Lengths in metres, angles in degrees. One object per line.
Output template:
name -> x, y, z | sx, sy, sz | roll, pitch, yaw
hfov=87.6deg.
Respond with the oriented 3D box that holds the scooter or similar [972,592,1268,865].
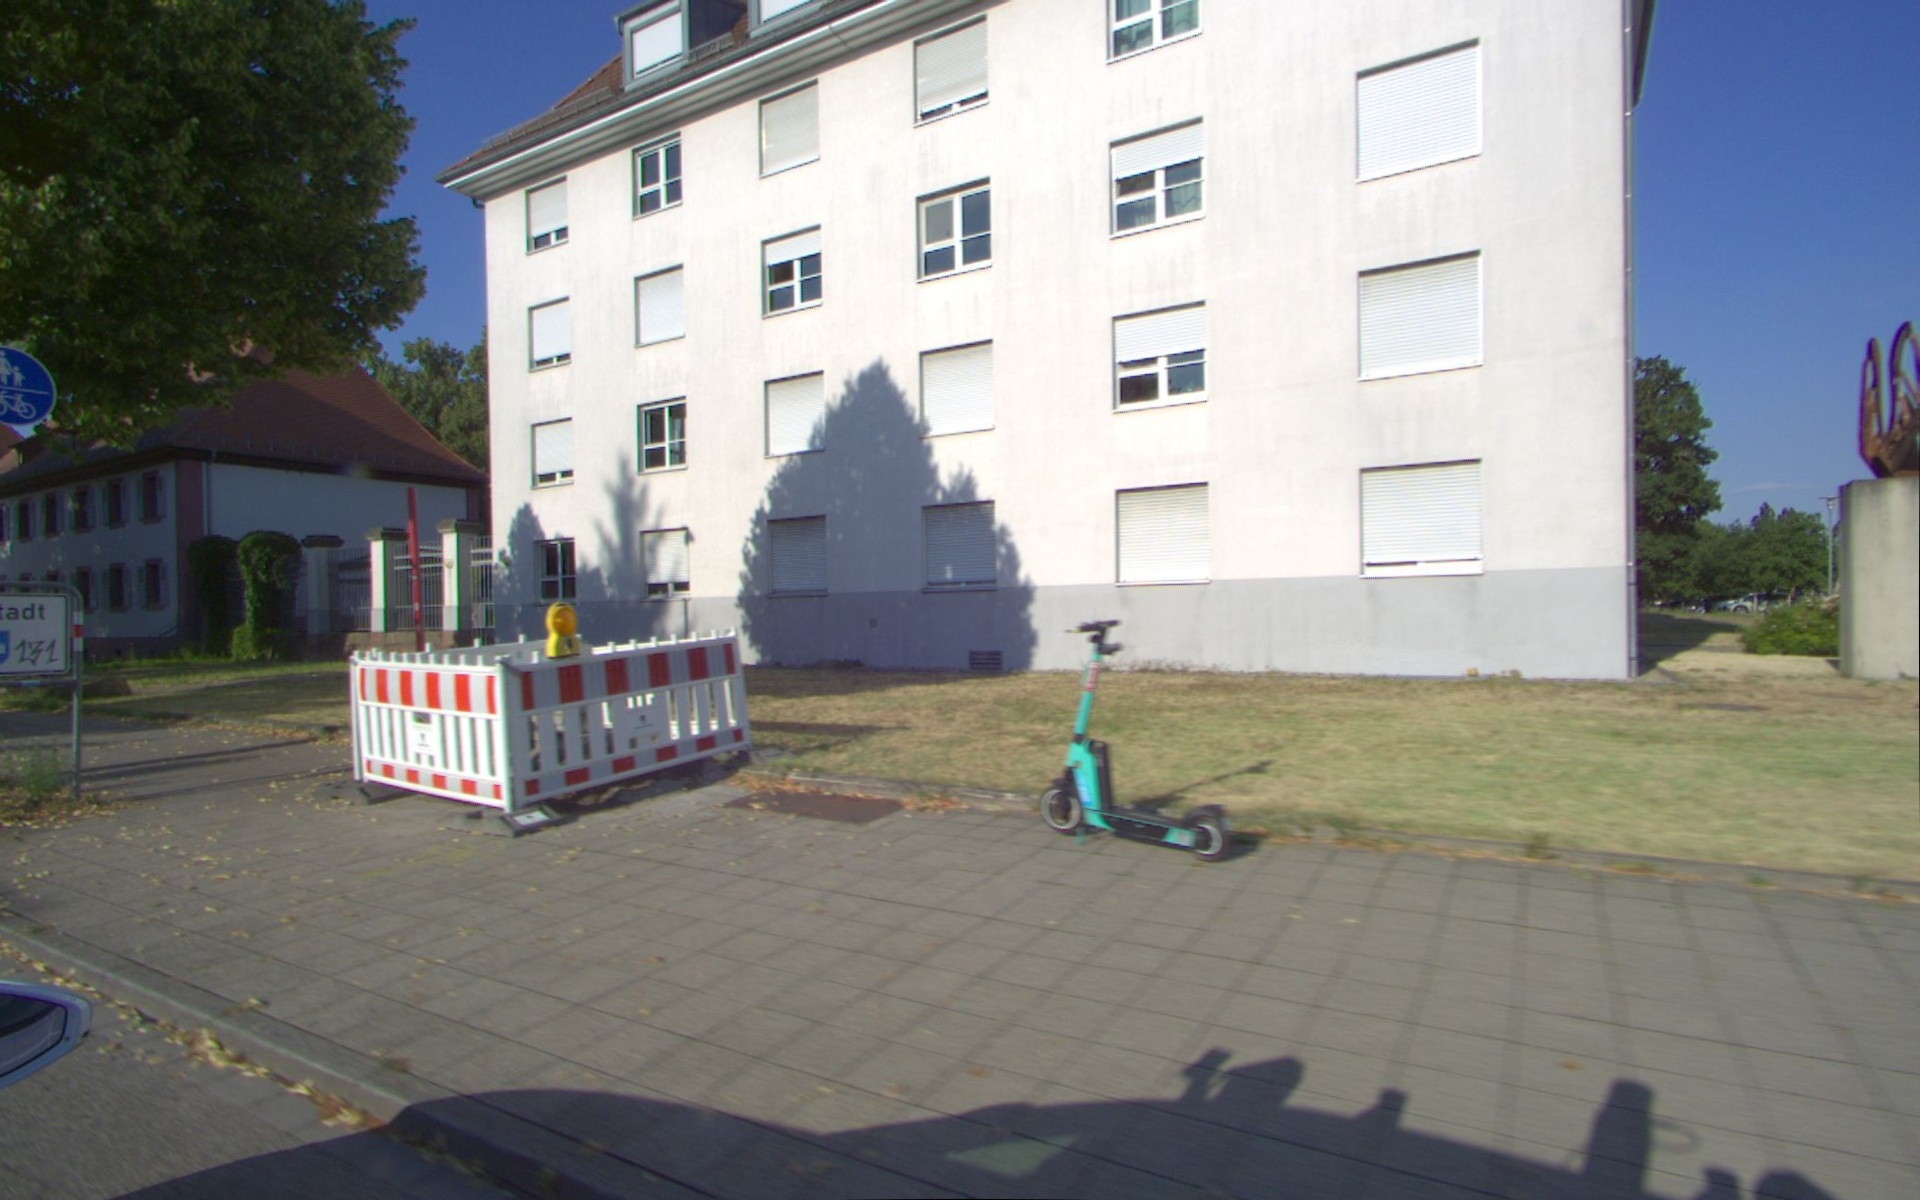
scooter or similar -> 0.863, 0.659, 5.503 | 1.442, 1.310, 0.557 | -2, 3, 32
